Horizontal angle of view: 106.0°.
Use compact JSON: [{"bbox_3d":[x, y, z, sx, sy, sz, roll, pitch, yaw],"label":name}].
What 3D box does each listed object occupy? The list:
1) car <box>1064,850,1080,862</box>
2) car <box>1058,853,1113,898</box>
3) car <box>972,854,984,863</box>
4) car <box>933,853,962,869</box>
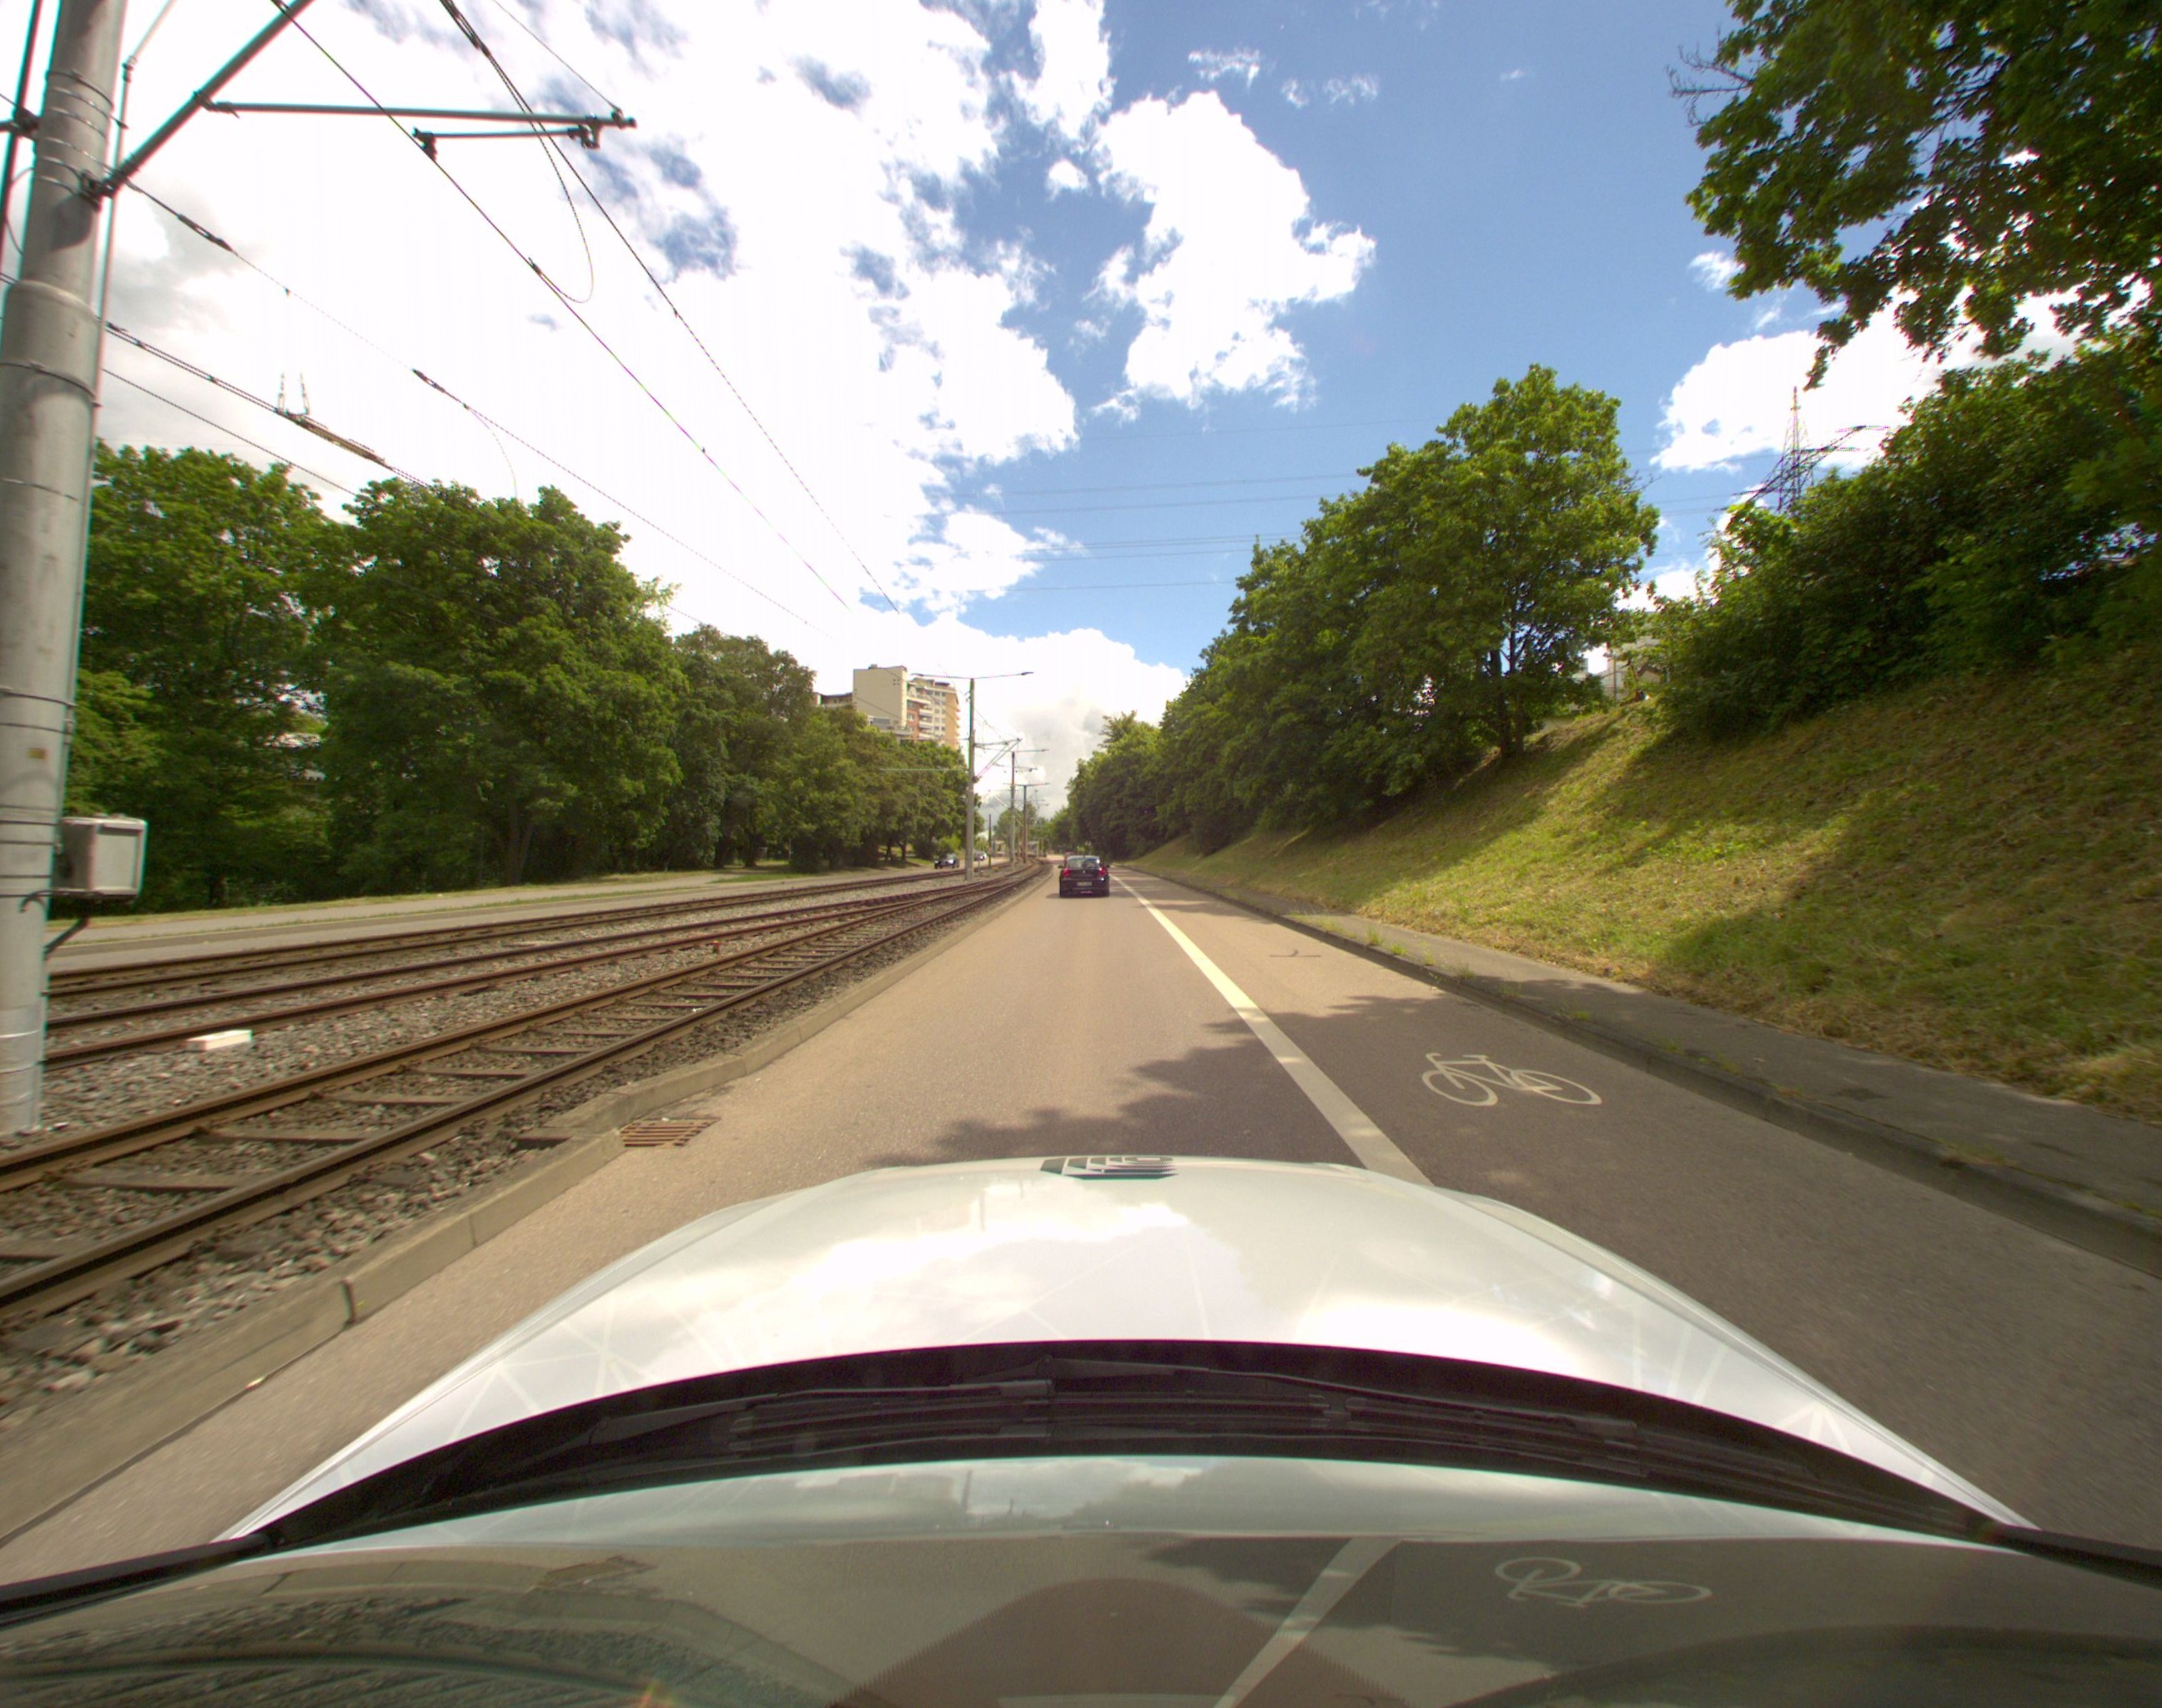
[{"bbox_3d":[-1.093,0.280,99.049,1.777,1.459,3.917,0,0,-2],"label":"car"},{"bbox_3d":[0.085,0.701,28.890,1.777,1.459,3.918,-1,0,-2],"label":"car"},{"bbox_3d":[-17.104,0.716,135.227,1.771,1.498,3.990,0,0,-5],"label":"car"},{"bbox_3d":[-12.685,0.652,77.439,1.829,1.391,4.863,-2,0,1],"label":"car"}]
